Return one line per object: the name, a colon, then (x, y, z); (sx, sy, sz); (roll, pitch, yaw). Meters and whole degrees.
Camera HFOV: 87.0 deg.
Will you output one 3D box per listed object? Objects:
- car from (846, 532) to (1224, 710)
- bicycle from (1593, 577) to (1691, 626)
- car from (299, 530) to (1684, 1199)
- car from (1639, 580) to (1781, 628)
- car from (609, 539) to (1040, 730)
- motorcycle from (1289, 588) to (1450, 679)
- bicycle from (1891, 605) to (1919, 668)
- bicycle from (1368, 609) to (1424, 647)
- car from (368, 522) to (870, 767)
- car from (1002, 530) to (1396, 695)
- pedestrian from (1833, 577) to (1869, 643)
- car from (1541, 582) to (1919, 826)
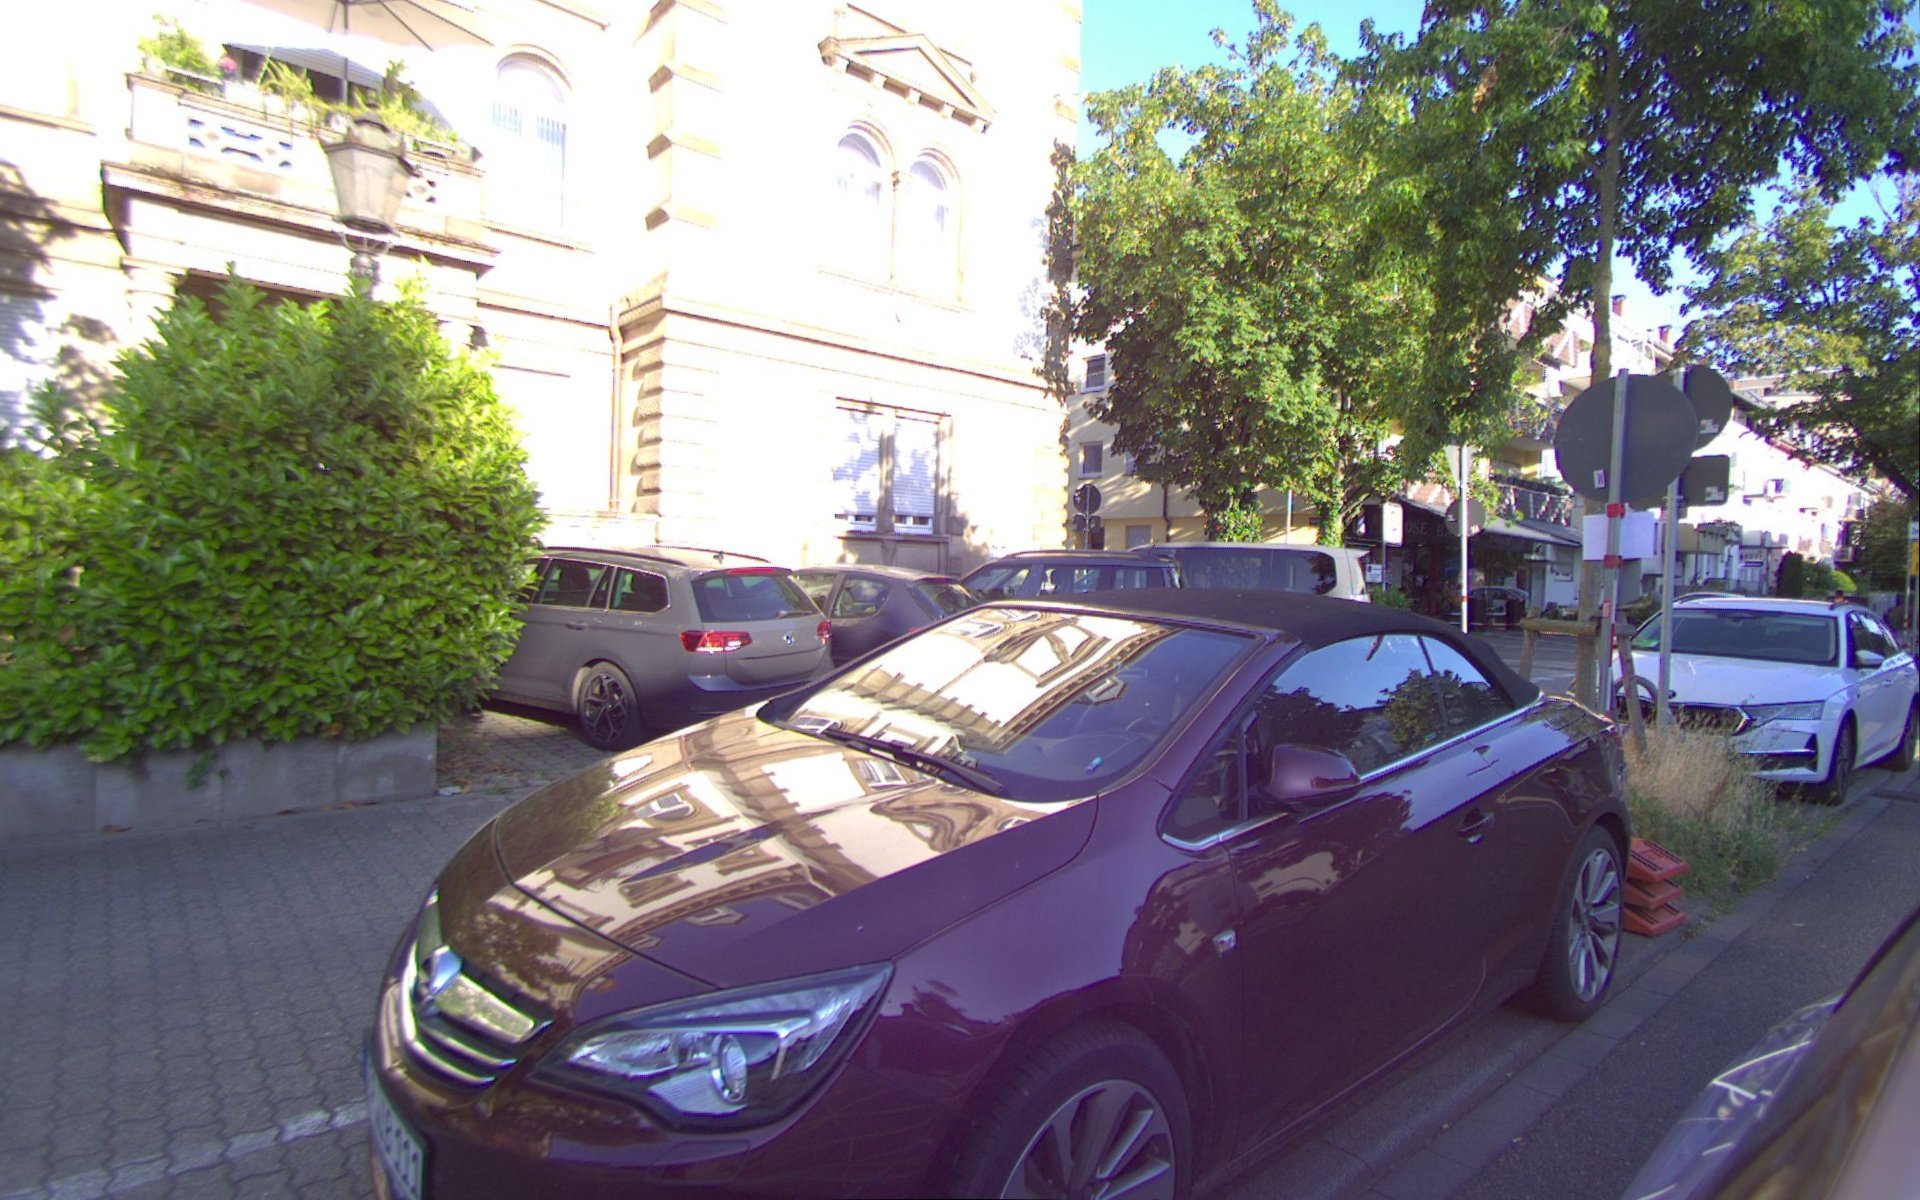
car: (0.899, 0.146, 11.831); (4.050, 1.720, 1.776); (3, 2, 21)
bicycle: (21.811, 0.018, 32.409); (0.912, 1.459, 2.457); (0, 2, -42)
car: (0.648, 0.608, 3.330); (4.534, 1.437, 1.761); (0, 4, -41)
car: (26.642, 0.118, 36.032); (1.550, 1.523, 3.869); (0, 2, -45)
car: (-1.414, 0.227, 10.251); (4.061, 1.458, 1.701); (4, 2, 27)
motorcycle: (6.296, 0.469, 15.634); (2.153, 1.255, 0.778); (3, 2, 40)
bicycle: (18.955, 0.755, 19.142); (0.602, 1.176, 1.905); (1, 3, -13)
bicycle: (9.627, 0.611, 22.327); (1.504, 0.777, 0.486); (0, 2, -40)
car: (-3.008, 0.207, 8.638); (4.220, 1.529, 1.772); (4, 3, 32)
car: (3.185, 0.067, 13.738); (4.881, 1.923, 1.907); (2, 1, 22)
pedestrian: (24.829, 0.277, 28.194); (0.552, 1.794, 0.619); (2, 0, -40)
car: (6.787, 0.642, 8.535); (4.540, 1.496, 1.825); (0, 2, -40)
